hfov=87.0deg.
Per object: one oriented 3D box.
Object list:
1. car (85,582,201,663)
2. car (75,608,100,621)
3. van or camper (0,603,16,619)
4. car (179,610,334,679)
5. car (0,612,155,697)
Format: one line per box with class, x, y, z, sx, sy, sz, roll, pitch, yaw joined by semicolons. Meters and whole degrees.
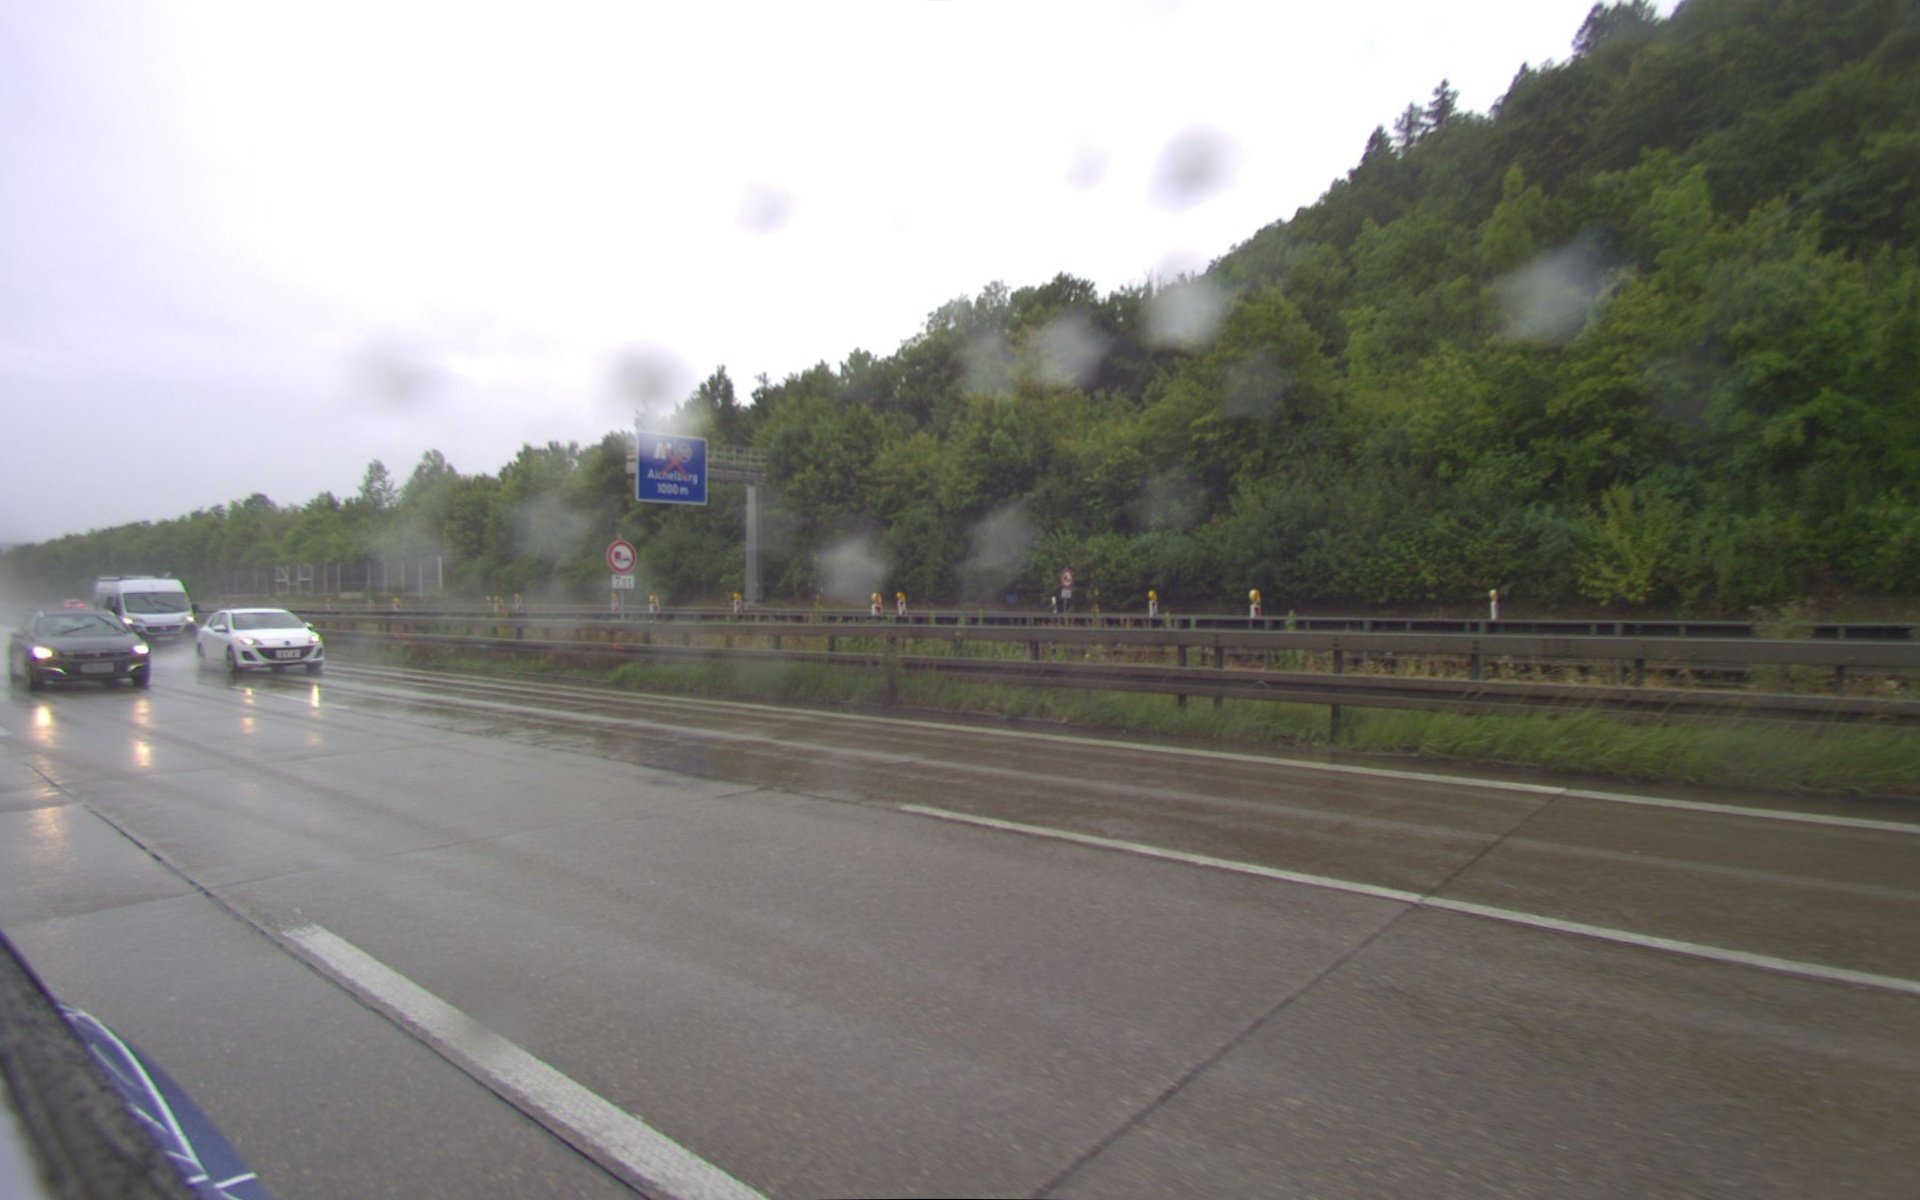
car;-28.964;0.739;35.774;6.399;2.651;2.020;-1;0;40
car;-113.723;1.926;131.926;3.998;1.630;1.973;-1;0;41
van or camper;-171.845;1.931;181.883;7.495;2.738;2.530;-1;2;42
car;-16.629;0.983;23.854;4.515;1.445;1.909;-1;0;40
car;-17.589;0.988;19.966;4.516;1.445;1.909;-1;0;41
